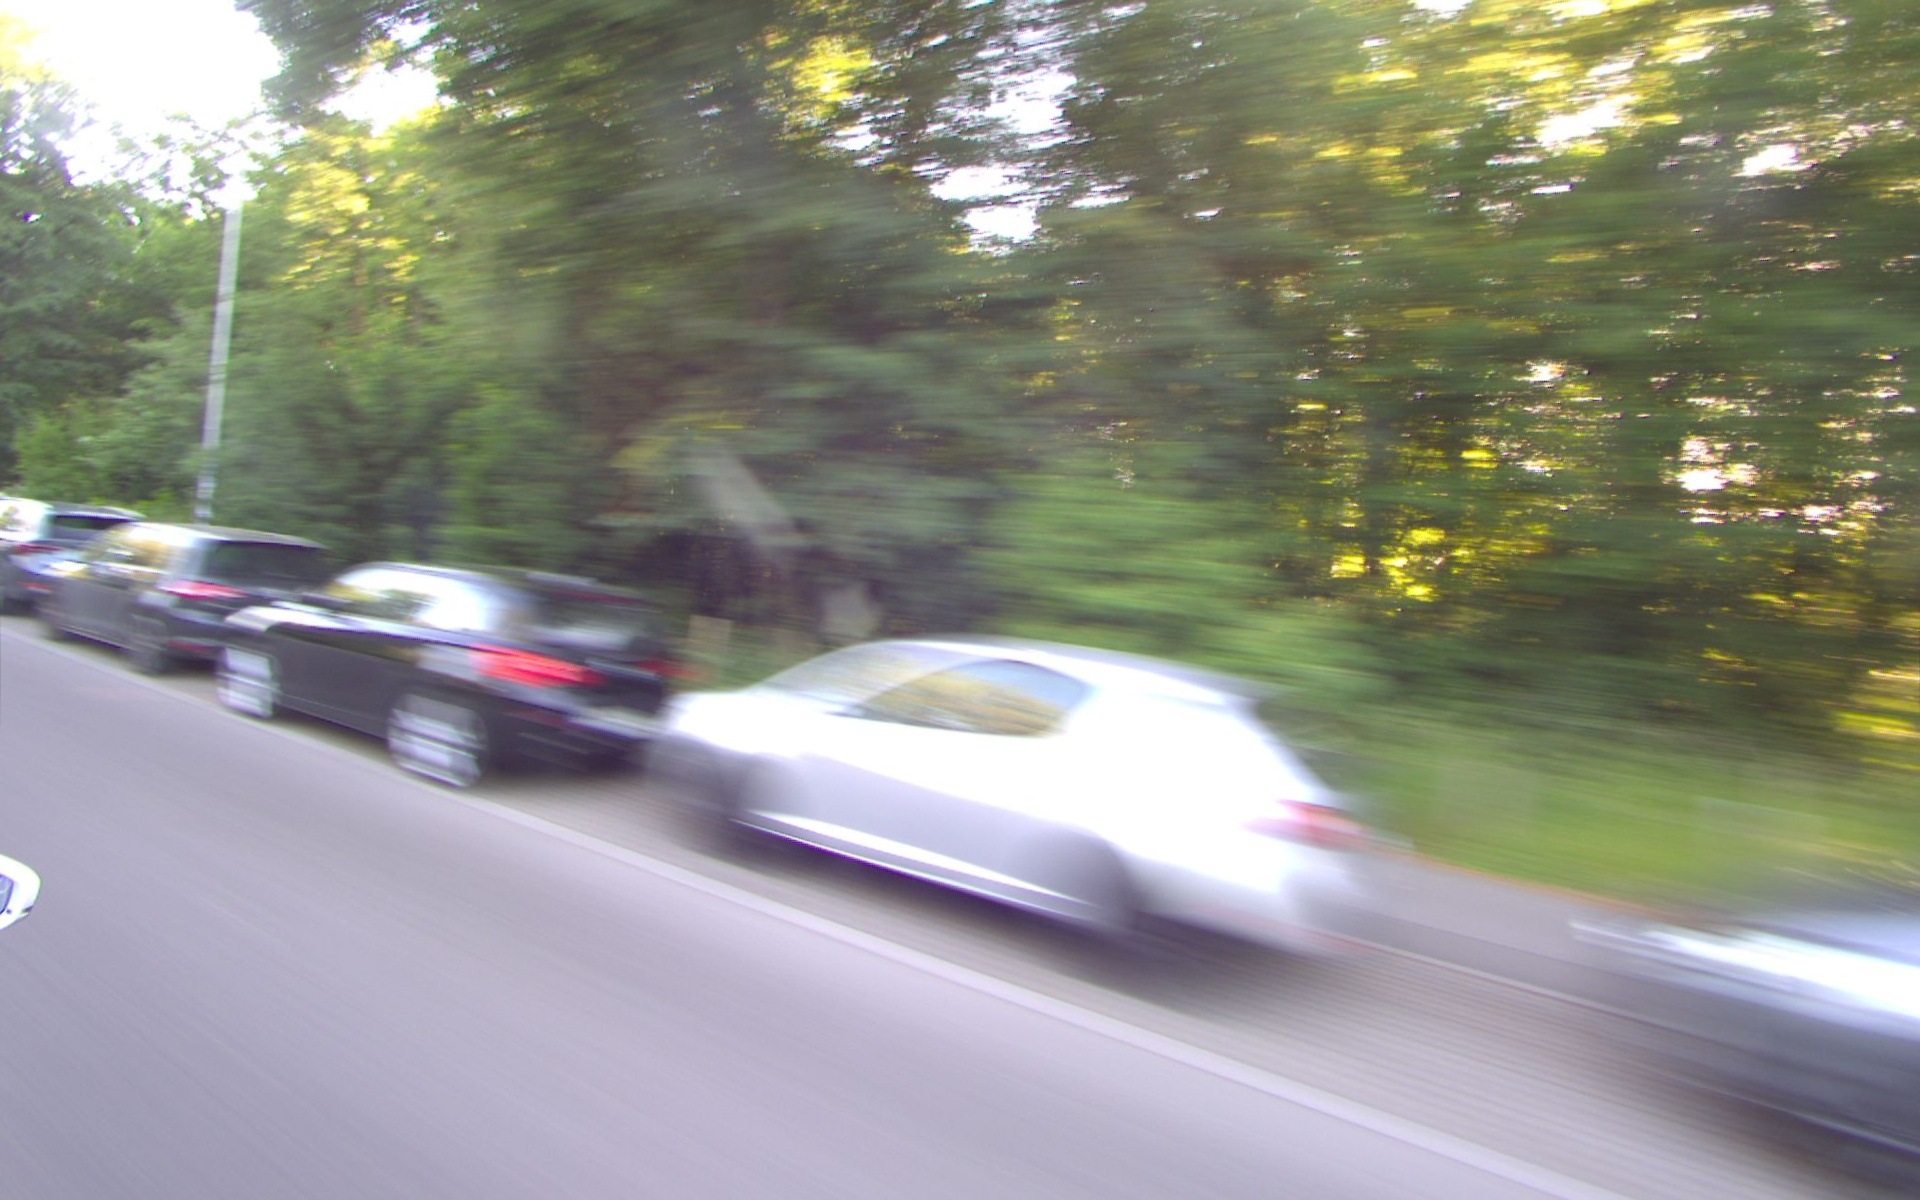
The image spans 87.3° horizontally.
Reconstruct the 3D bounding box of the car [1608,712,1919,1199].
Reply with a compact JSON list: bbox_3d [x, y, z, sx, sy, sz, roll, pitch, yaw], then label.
[{"bbox_3d":[4.551,1.402,3.075,4.133,1.487,1.720,6,0,31],"label":"car"}]

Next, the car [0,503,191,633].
[{"bbox_3d":[-12.704,-0.545,13.982,4.829,1.429,1.719,6,0,34],"label":"car"}]

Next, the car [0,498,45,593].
[{"bbox_3d":[-17.155,-1.076,16.971,3.630,1.482,1.678,6,0,34],"label":"car"}]

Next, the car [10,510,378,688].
[{"bbox_3d":[-8.412,-0.053,10.933,4.415,1.429,1.719,6,0,33],"label":"car"}]

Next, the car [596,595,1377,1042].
[{"bbox_3d":[0.024,0.919,5.770,4.056,1.429,1.720,6,0,31],"label":"car"}]

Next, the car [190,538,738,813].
[{"bbox_3d":[-4.044,0.445,7.967,4.413,1.429,1.720,6,0,31],"label":"car"}]
